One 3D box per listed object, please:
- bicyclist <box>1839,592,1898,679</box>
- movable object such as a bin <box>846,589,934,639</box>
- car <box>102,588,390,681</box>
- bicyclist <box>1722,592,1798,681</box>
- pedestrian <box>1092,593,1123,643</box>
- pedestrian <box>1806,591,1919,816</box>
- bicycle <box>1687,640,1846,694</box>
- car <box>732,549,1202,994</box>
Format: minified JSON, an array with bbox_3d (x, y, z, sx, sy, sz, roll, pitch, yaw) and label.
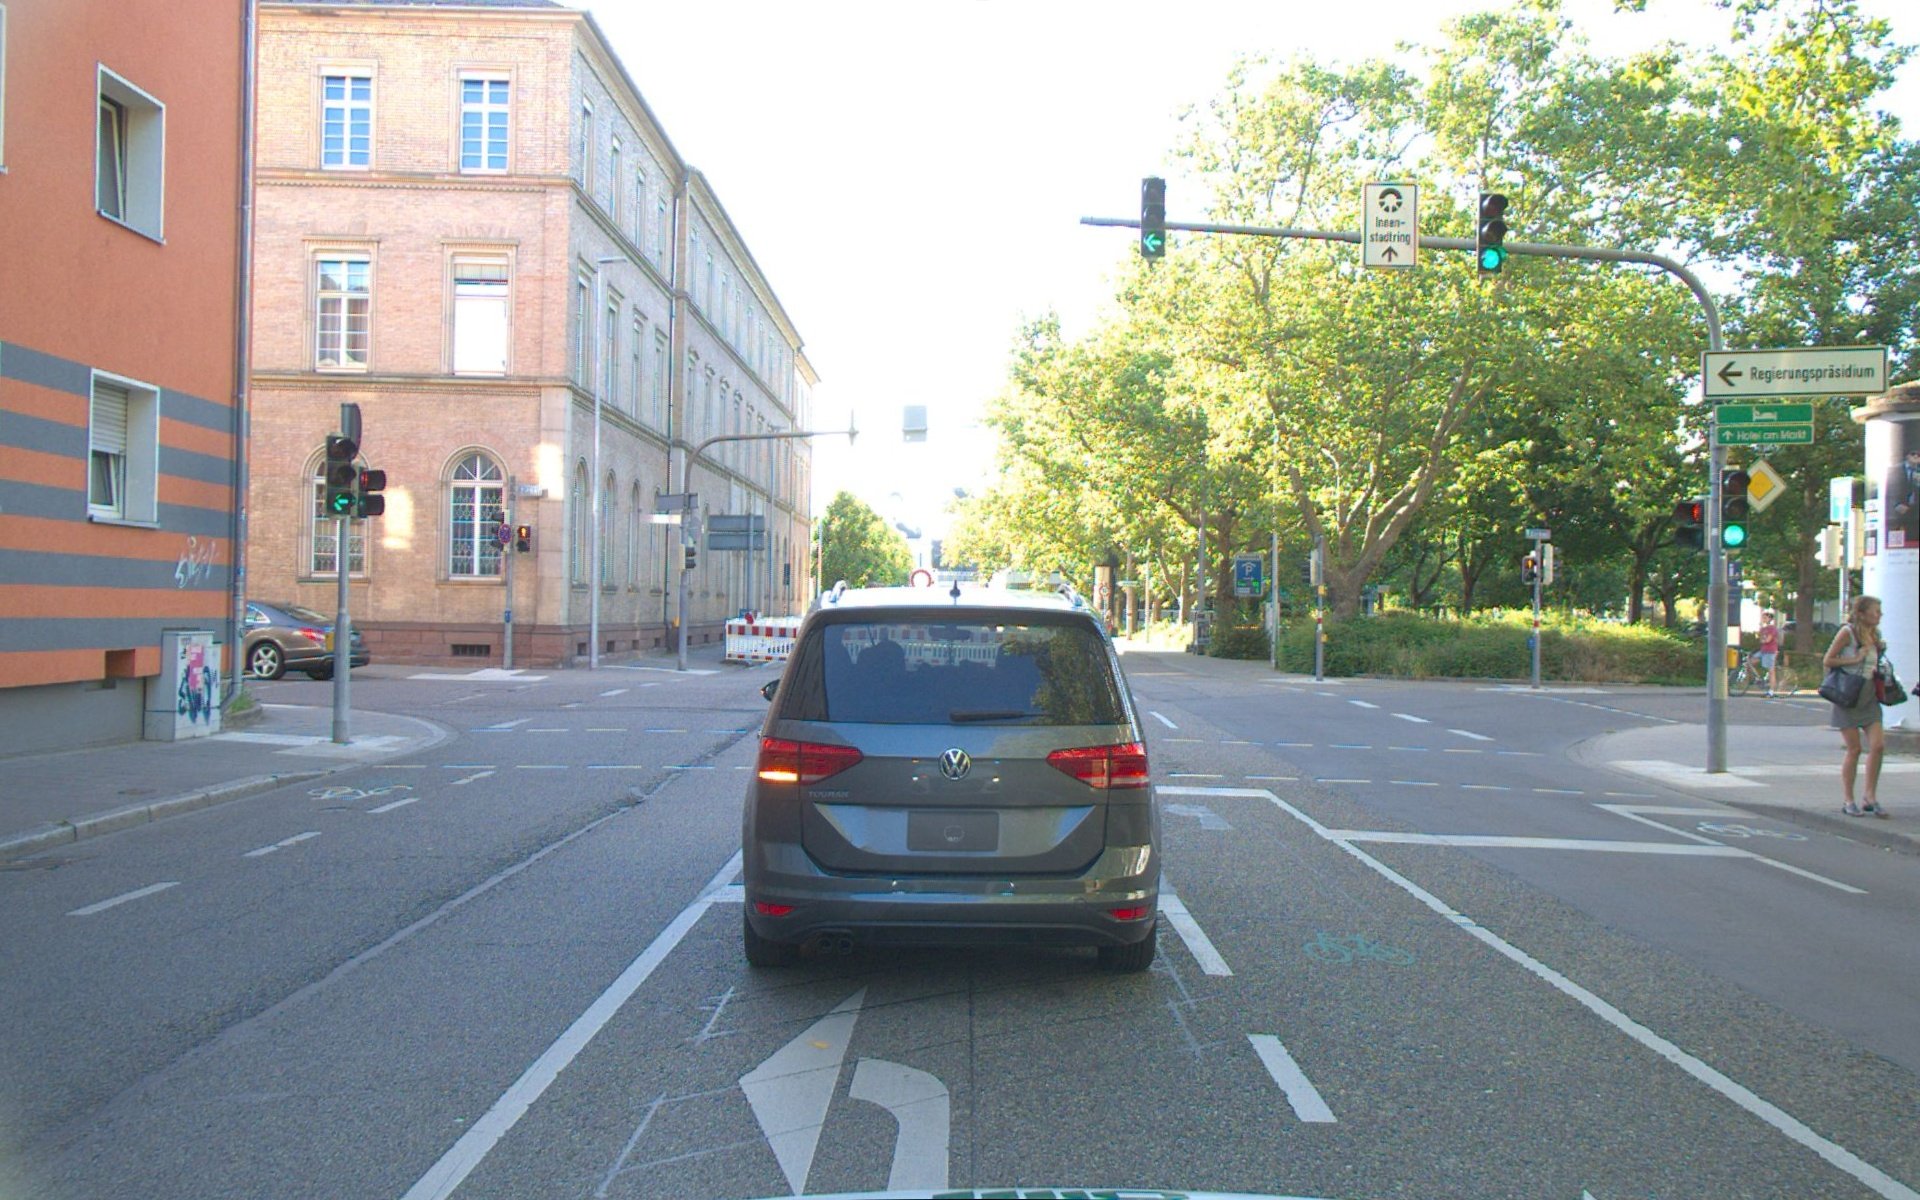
[{"bbox_3d":[17.159,0.651,31.224,0.933,1.572,1.124,0,1,31],"label":"bicyclist"},{"bbox_3d":[-4.078,0.815,96.060,4.757,2.825,2.458,0,-1,43],"label":"movable object such as a bin"},{"bbox_3d":[-12.914,0.601,30.076,4.398,1.556,1.931,1,0,7],"label":"car"},{"bbox_3d":[16.859,0.760,34.894,1.105,1.839,0.977,1,-1,-3],"label":"bicyclist"},{"bbox_3d":[8.056,0.975,90.257,1.393,2.714,1.146,1,-1,-9],"label":"pedestrian"},{"bbox_3d":[7.368,0.816,13.271,0.758,1.749,0.692,-1,-2,-1],"label":"pedestrian"},{"bbox_3d":[17.011,1.407,34.911,2.937,1.056,0.942,1,-1,-4],"label":"bicycle"},{"bbox_3d":[-0.004,0.644,8.163,1.726,1.635,3.999,1,0,-1],"label":"car"}]
